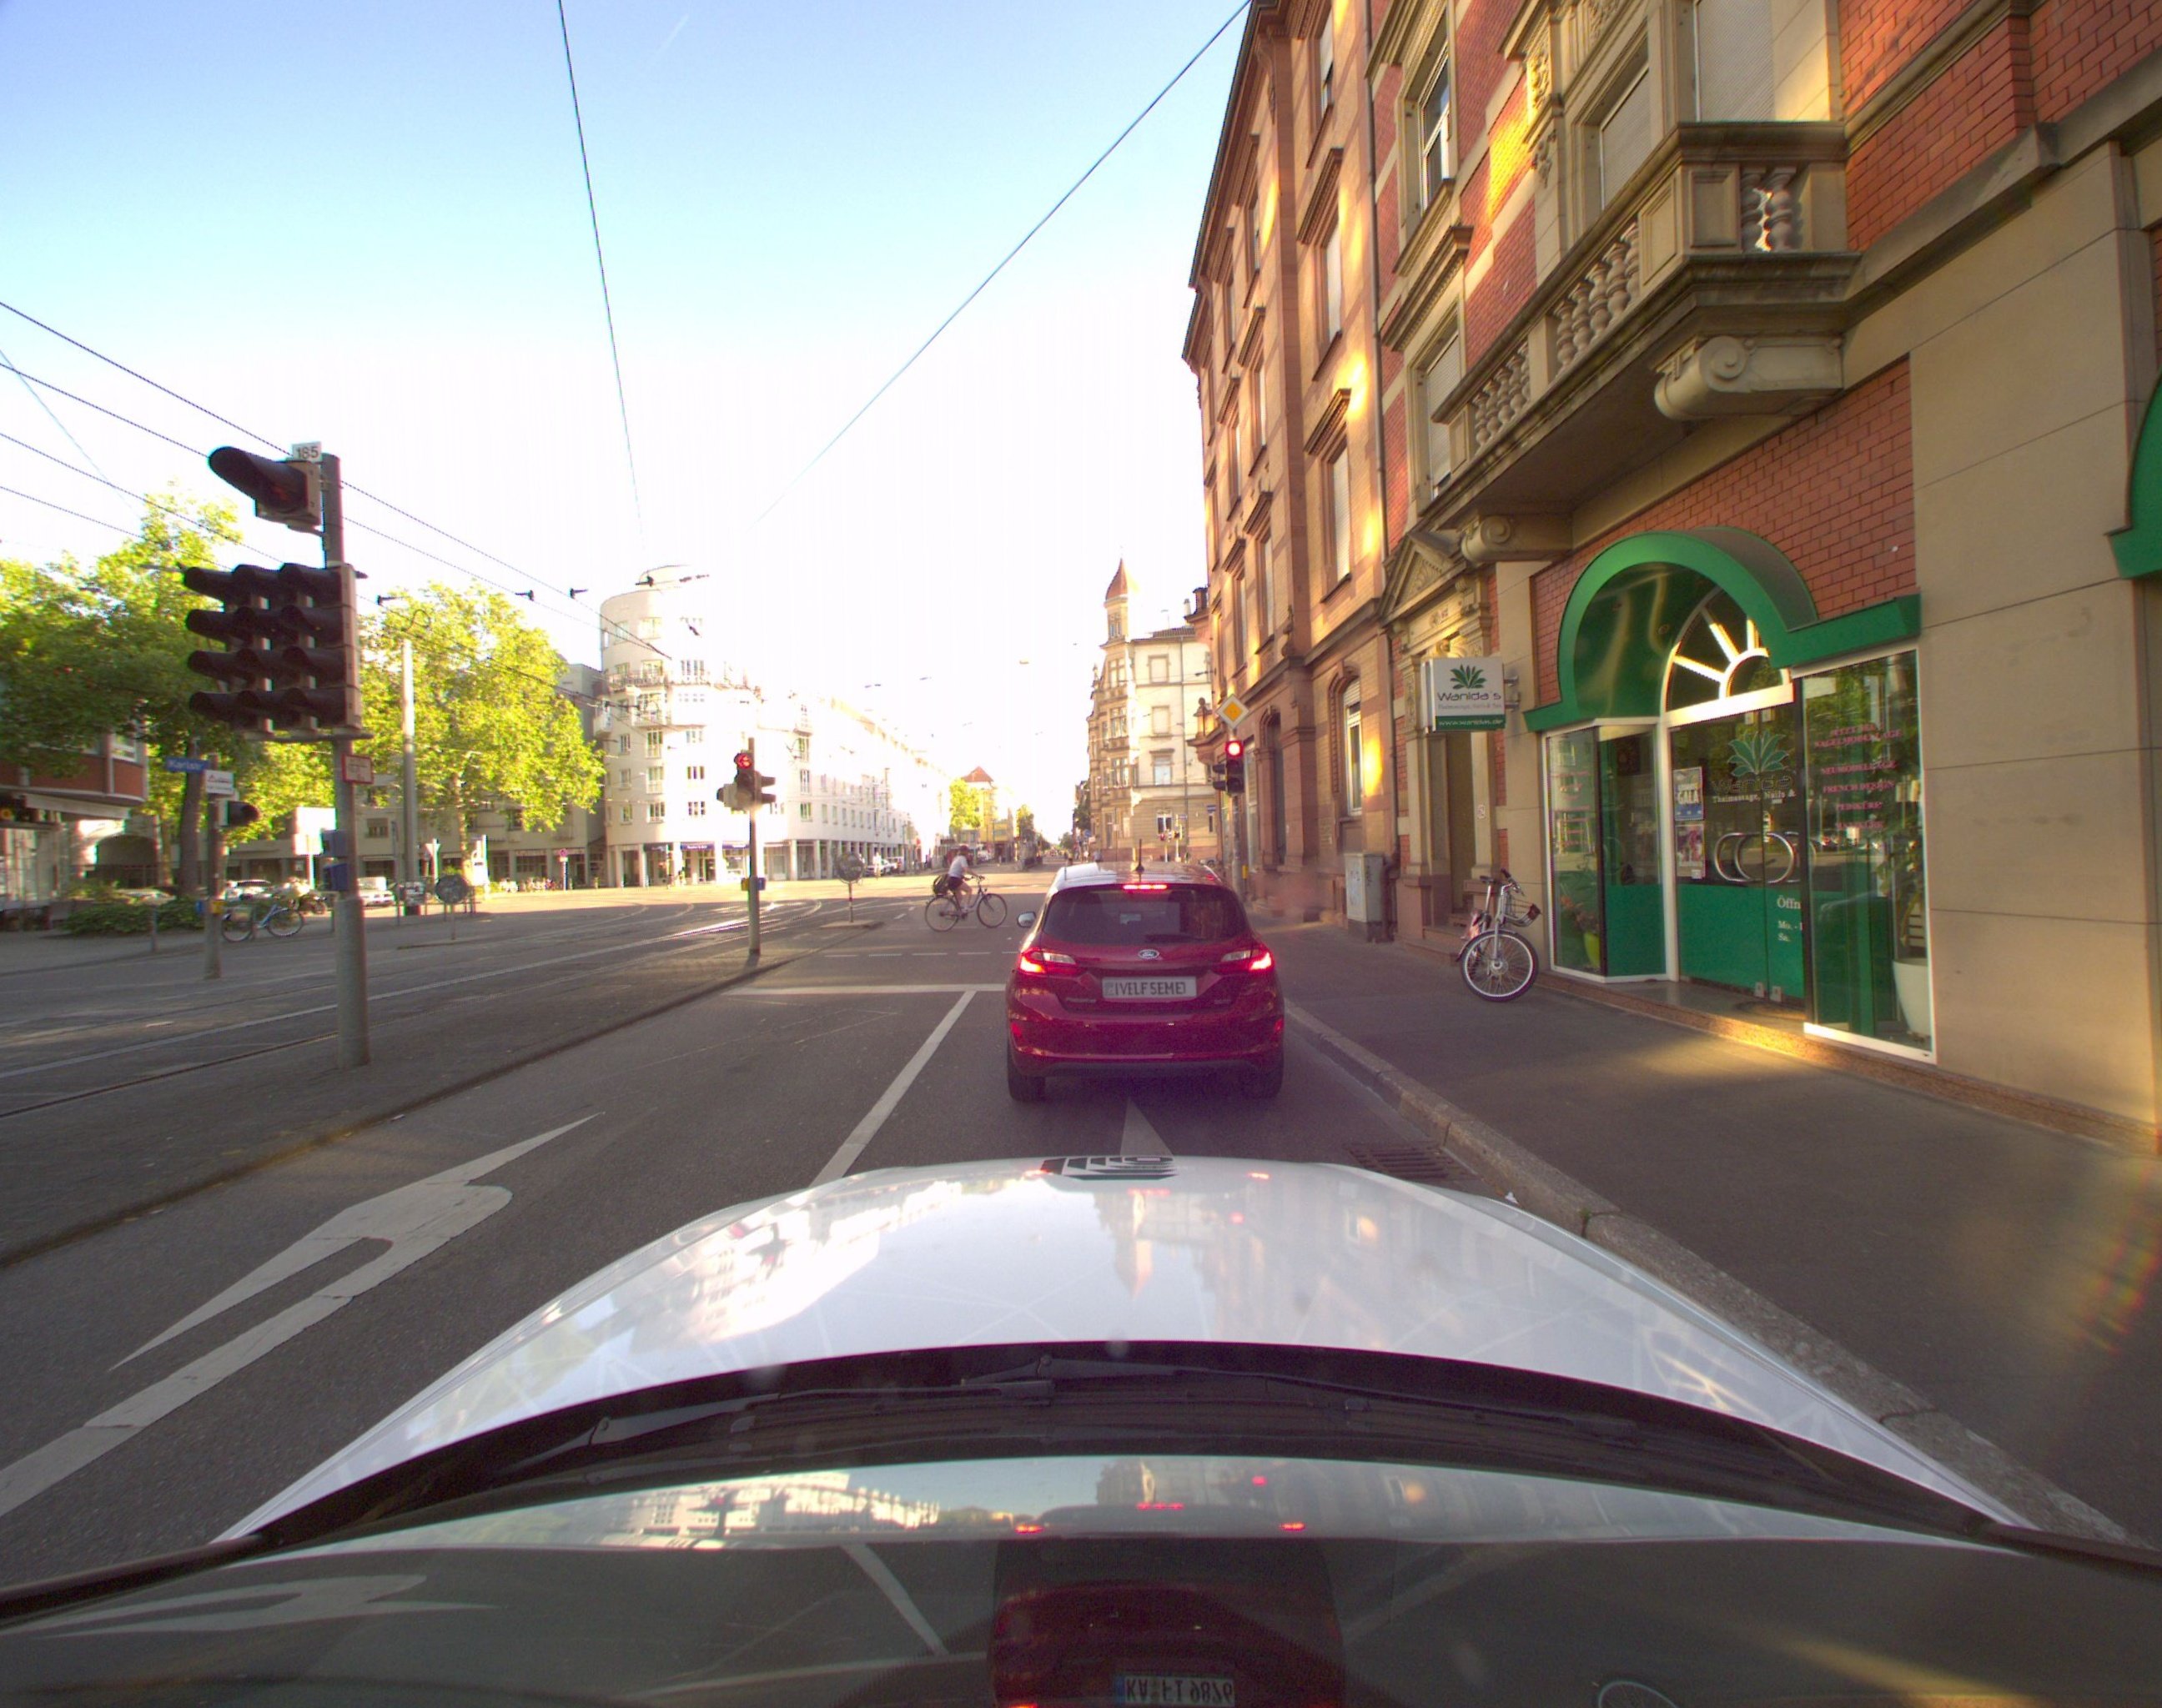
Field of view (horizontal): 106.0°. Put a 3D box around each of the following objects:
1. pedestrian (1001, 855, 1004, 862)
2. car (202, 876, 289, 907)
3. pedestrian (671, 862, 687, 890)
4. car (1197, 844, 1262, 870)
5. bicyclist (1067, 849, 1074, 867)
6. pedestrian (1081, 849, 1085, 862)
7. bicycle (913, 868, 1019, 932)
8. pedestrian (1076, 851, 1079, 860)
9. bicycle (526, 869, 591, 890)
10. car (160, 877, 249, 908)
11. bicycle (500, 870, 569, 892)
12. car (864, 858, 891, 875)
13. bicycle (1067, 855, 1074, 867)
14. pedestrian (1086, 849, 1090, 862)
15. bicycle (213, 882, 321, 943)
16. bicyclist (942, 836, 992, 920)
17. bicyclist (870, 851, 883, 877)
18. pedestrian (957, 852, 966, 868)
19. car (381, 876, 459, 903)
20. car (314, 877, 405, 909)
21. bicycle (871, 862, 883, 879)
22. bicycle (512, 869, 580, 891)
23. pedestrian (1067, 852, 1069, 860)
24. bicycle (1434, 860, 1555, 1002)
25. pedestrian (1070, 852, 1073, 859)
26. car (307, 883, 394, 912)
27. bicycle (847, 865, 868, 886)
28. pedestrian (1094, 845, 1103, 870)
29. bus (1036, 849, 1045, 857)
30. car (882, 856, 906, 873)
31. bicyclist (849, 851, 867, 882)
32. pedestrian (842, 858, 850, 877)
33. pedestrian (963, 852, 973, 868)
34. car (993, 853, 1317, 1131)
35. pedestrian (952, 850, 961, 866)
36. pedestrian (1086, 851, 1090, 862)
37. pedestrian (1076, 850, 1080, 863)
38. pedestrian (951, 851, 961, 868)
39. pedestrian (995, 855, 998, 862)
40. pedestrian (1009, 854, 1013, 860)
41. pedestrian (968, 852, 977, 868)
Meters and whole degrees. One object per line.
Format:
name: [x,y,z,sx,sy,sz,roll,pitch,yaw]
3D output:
pedestrian: [-15.906,0.904,165.460,0.522,1.488,0.583,-2,0,1]
car: [-60.382,2.650,58.956,1.986,1.964,4.001,-2,0,1]
pedestrian: [-29.572,1.604,59.957,0.949,2.013,0.931,-2,0,-29]
car: [10.549,0.204,58.041,4.419,1.641,1.708,-2,0,8]
bicyclist: [-1.001,0.386,78.451,0.497,1.676,0.545,-2,0,3]
pedestrian: [0.275,0.239,132.432,0.574,2.013,0.632,-2,0,5]
bicycle: [-2.296,0.899,16.389,2.031,1.177,0.622,-1,0,-31]
pedestrian: [-0.783,0.309,176.280,0.575,2.013,0.630,-2,0,0]
bicycle: [-42.826,2.110,66.778,4.685,1.530,1.067,-2,0,2]
car: [-63.301,2.742,58.940,1.986,1.964,4.001,-2,0,1]
bicycle: [-42.984,2.118,64.089,4.685,1.530,1.067,-2,0,2]
car: [-20.143,1.249,80.844,1.760,1.546,3.460,-2,0,0]
bicycle: [-0.978,0.688,78.595,0.524,1.089,1.488,-2,0,4]
pedestrian: [1.148,0.229,135.108,0.574,2.013,0.632,-2,0,5]
bicycle: [-19.737,1.394,19.811,0.668,1.327,1.907,1,0,2]
bicyclist: [-2.300,0.463,16.400,0.734,1.627,0.758,-1,0,-31]
bicyclist: [-14.909,0.719,59.457,0.809,1.821,0.988,-2,0,-16]
pedestrian: [-15.506,0.750,105.759,1.043,2.013,0.958,-2,0,-3]
car: [-44.145,2.363,54.439,3.969,1.531,1.618,-2,0,4]
car: [-40.191,2.155,45.381,3.978,1.559,1.636,-2,0,11]
bicycle: [-14.895,1.186,59.472,0.809,1.147,1.999,-2,0,-16]
bicycle: [-42.822,2.100,65.226,4.685,1.530,1.067,-2,0,2]
pedestrian: [-3.278,0.492,205.462,0.575,1.887,0.669,-2,0,-1]
bicycle: [3.884,0.678,7.781,0.710,1.152,1.662,-4,0,17]
pedestrian: [-2.343,0.403,201.468,0.575,1.887,0.630,-2,0,-1]
car: [-36.901,2.186,41.154,3.968,1.295,1.781,-2,0,24]
bicycle: [-12.644,1.206,46.108,0.807,1.147,2.045,-2,0,-6]
pedestrian: [1.405,0.269,67.156,0.649,2.013,0.759,-2,0,-2]
bus: [-10.800,-0.356,217.909,1.919,2.013,7.137,-2,0,1]
car: [-20.278,1.142,88.427,1.696,1.718,3.562,-2,0,-1]
bicyclist: [-12.675,0.722,46.233,0.807,1.726,0.792,-2,0,-6]
pedestrian: [-21.331,1.206,73.861,0.524,1.681,0.484,-2,0,-8]
pedestrian: [-14.355,0.775,103.628,1.043,2.013,0.958,-2,0,-3]
car: [0.323,0.741,6.377,1.750,1.466,3.941,-1,0,-3]
pedestrian: [-15.813,0.481,103.404,1.043,2.013,0.958,-2,0,-3]
pedestrian: [1.023,0.369,118.373,0.412,1.680,0.485,-2,0,1]
pedestrian: [-0.482,0.392,132.493,0.574,2.013,0.632,-2,0,5]
pedestrian: [-15.580,0.654,101.474,0.953,2.013,1.048,-2,0,-1]
pedestrian: [-17.585,1.009,169.759,0.579,1.488,0.525,-2,0,-3]
pedestrian: [-17.006,0.734,197.747,0.630,1.604,0.575,-2,0,-18]
pedestrian: [-14.166,0.824,106.358,1.043,2.013,0.958,-2,0,-3]
